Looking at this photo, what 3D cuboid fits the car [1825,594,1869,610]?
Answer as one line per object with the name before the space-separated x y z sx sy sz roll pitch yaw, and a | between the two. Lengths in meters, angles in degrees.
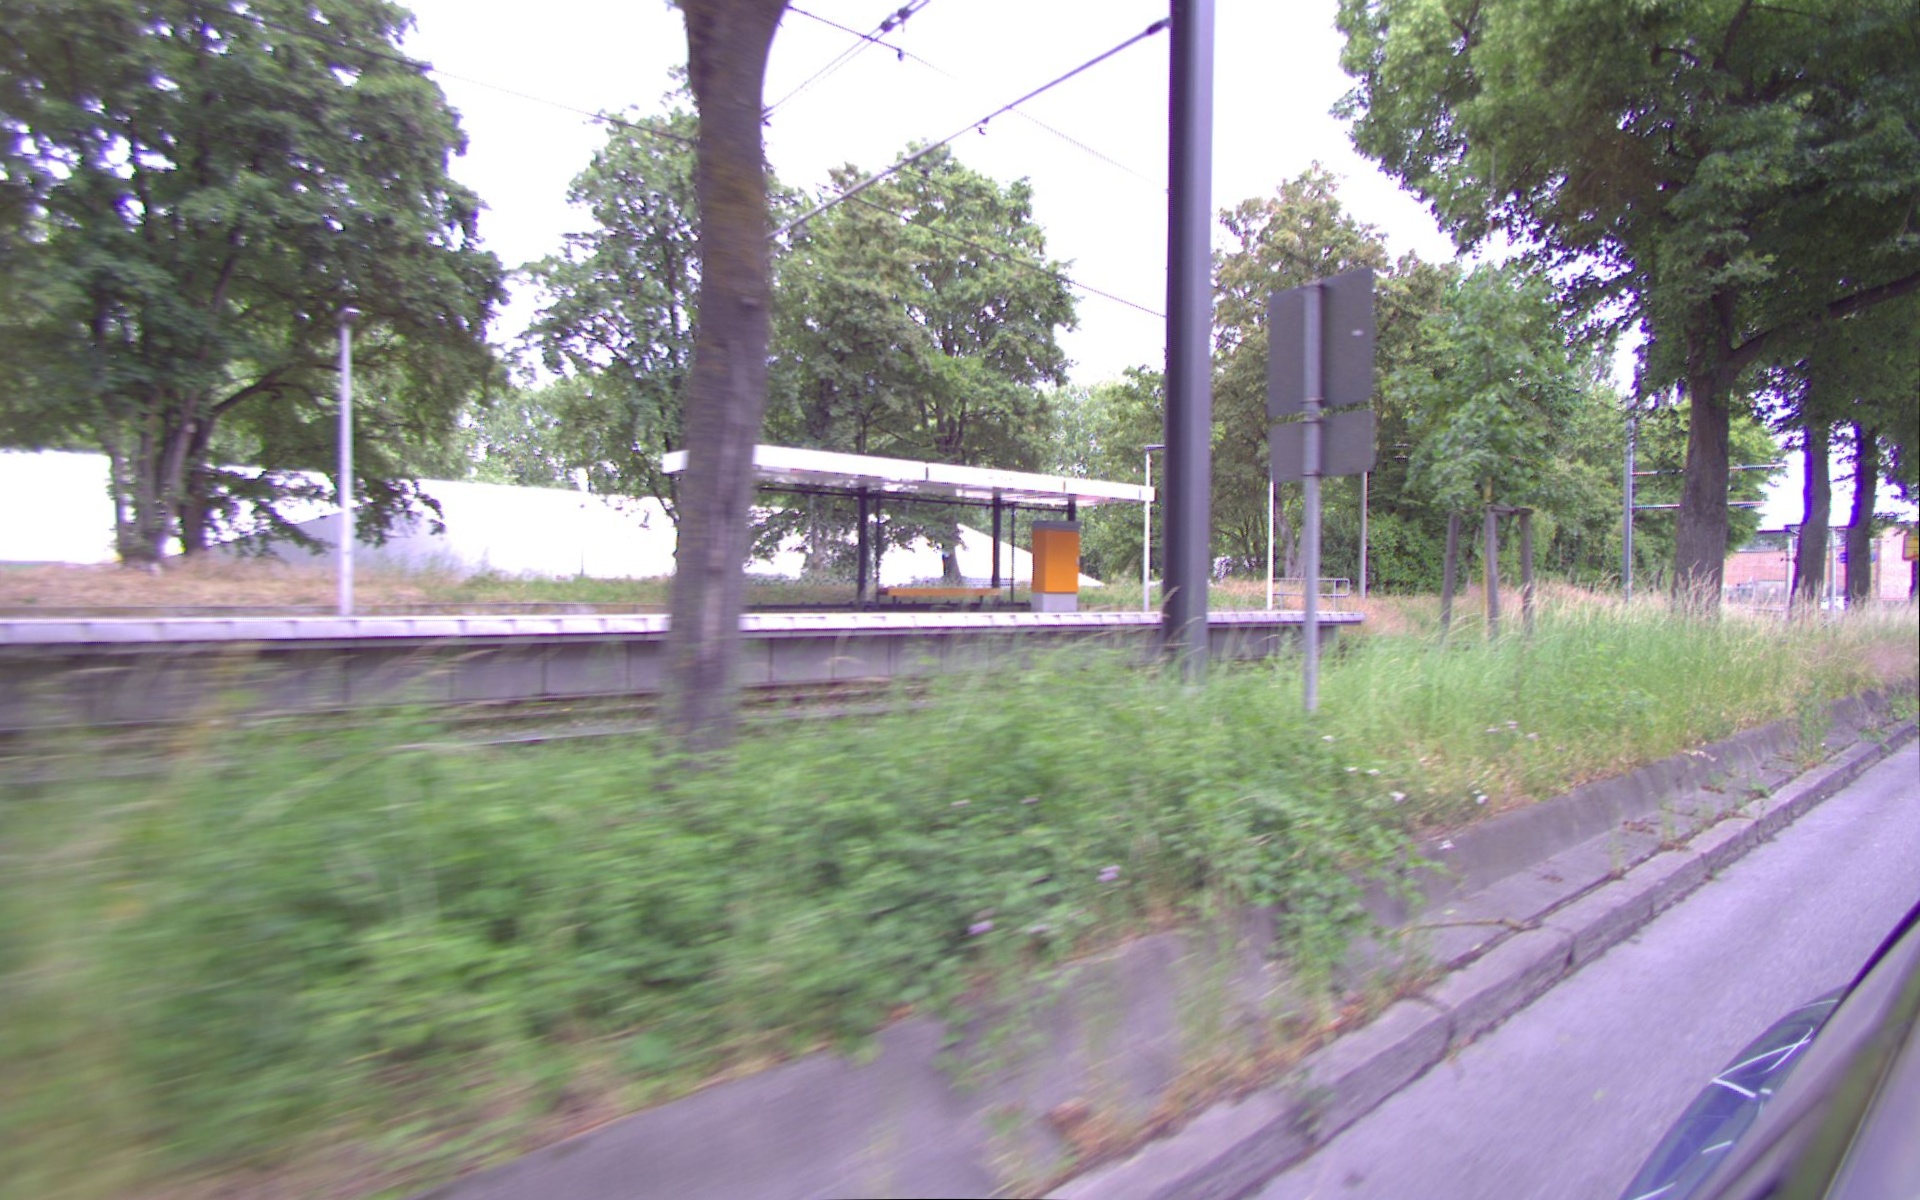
car | 84.756 0.173 96.746 1.561 1.484 3.683 0 1 12
